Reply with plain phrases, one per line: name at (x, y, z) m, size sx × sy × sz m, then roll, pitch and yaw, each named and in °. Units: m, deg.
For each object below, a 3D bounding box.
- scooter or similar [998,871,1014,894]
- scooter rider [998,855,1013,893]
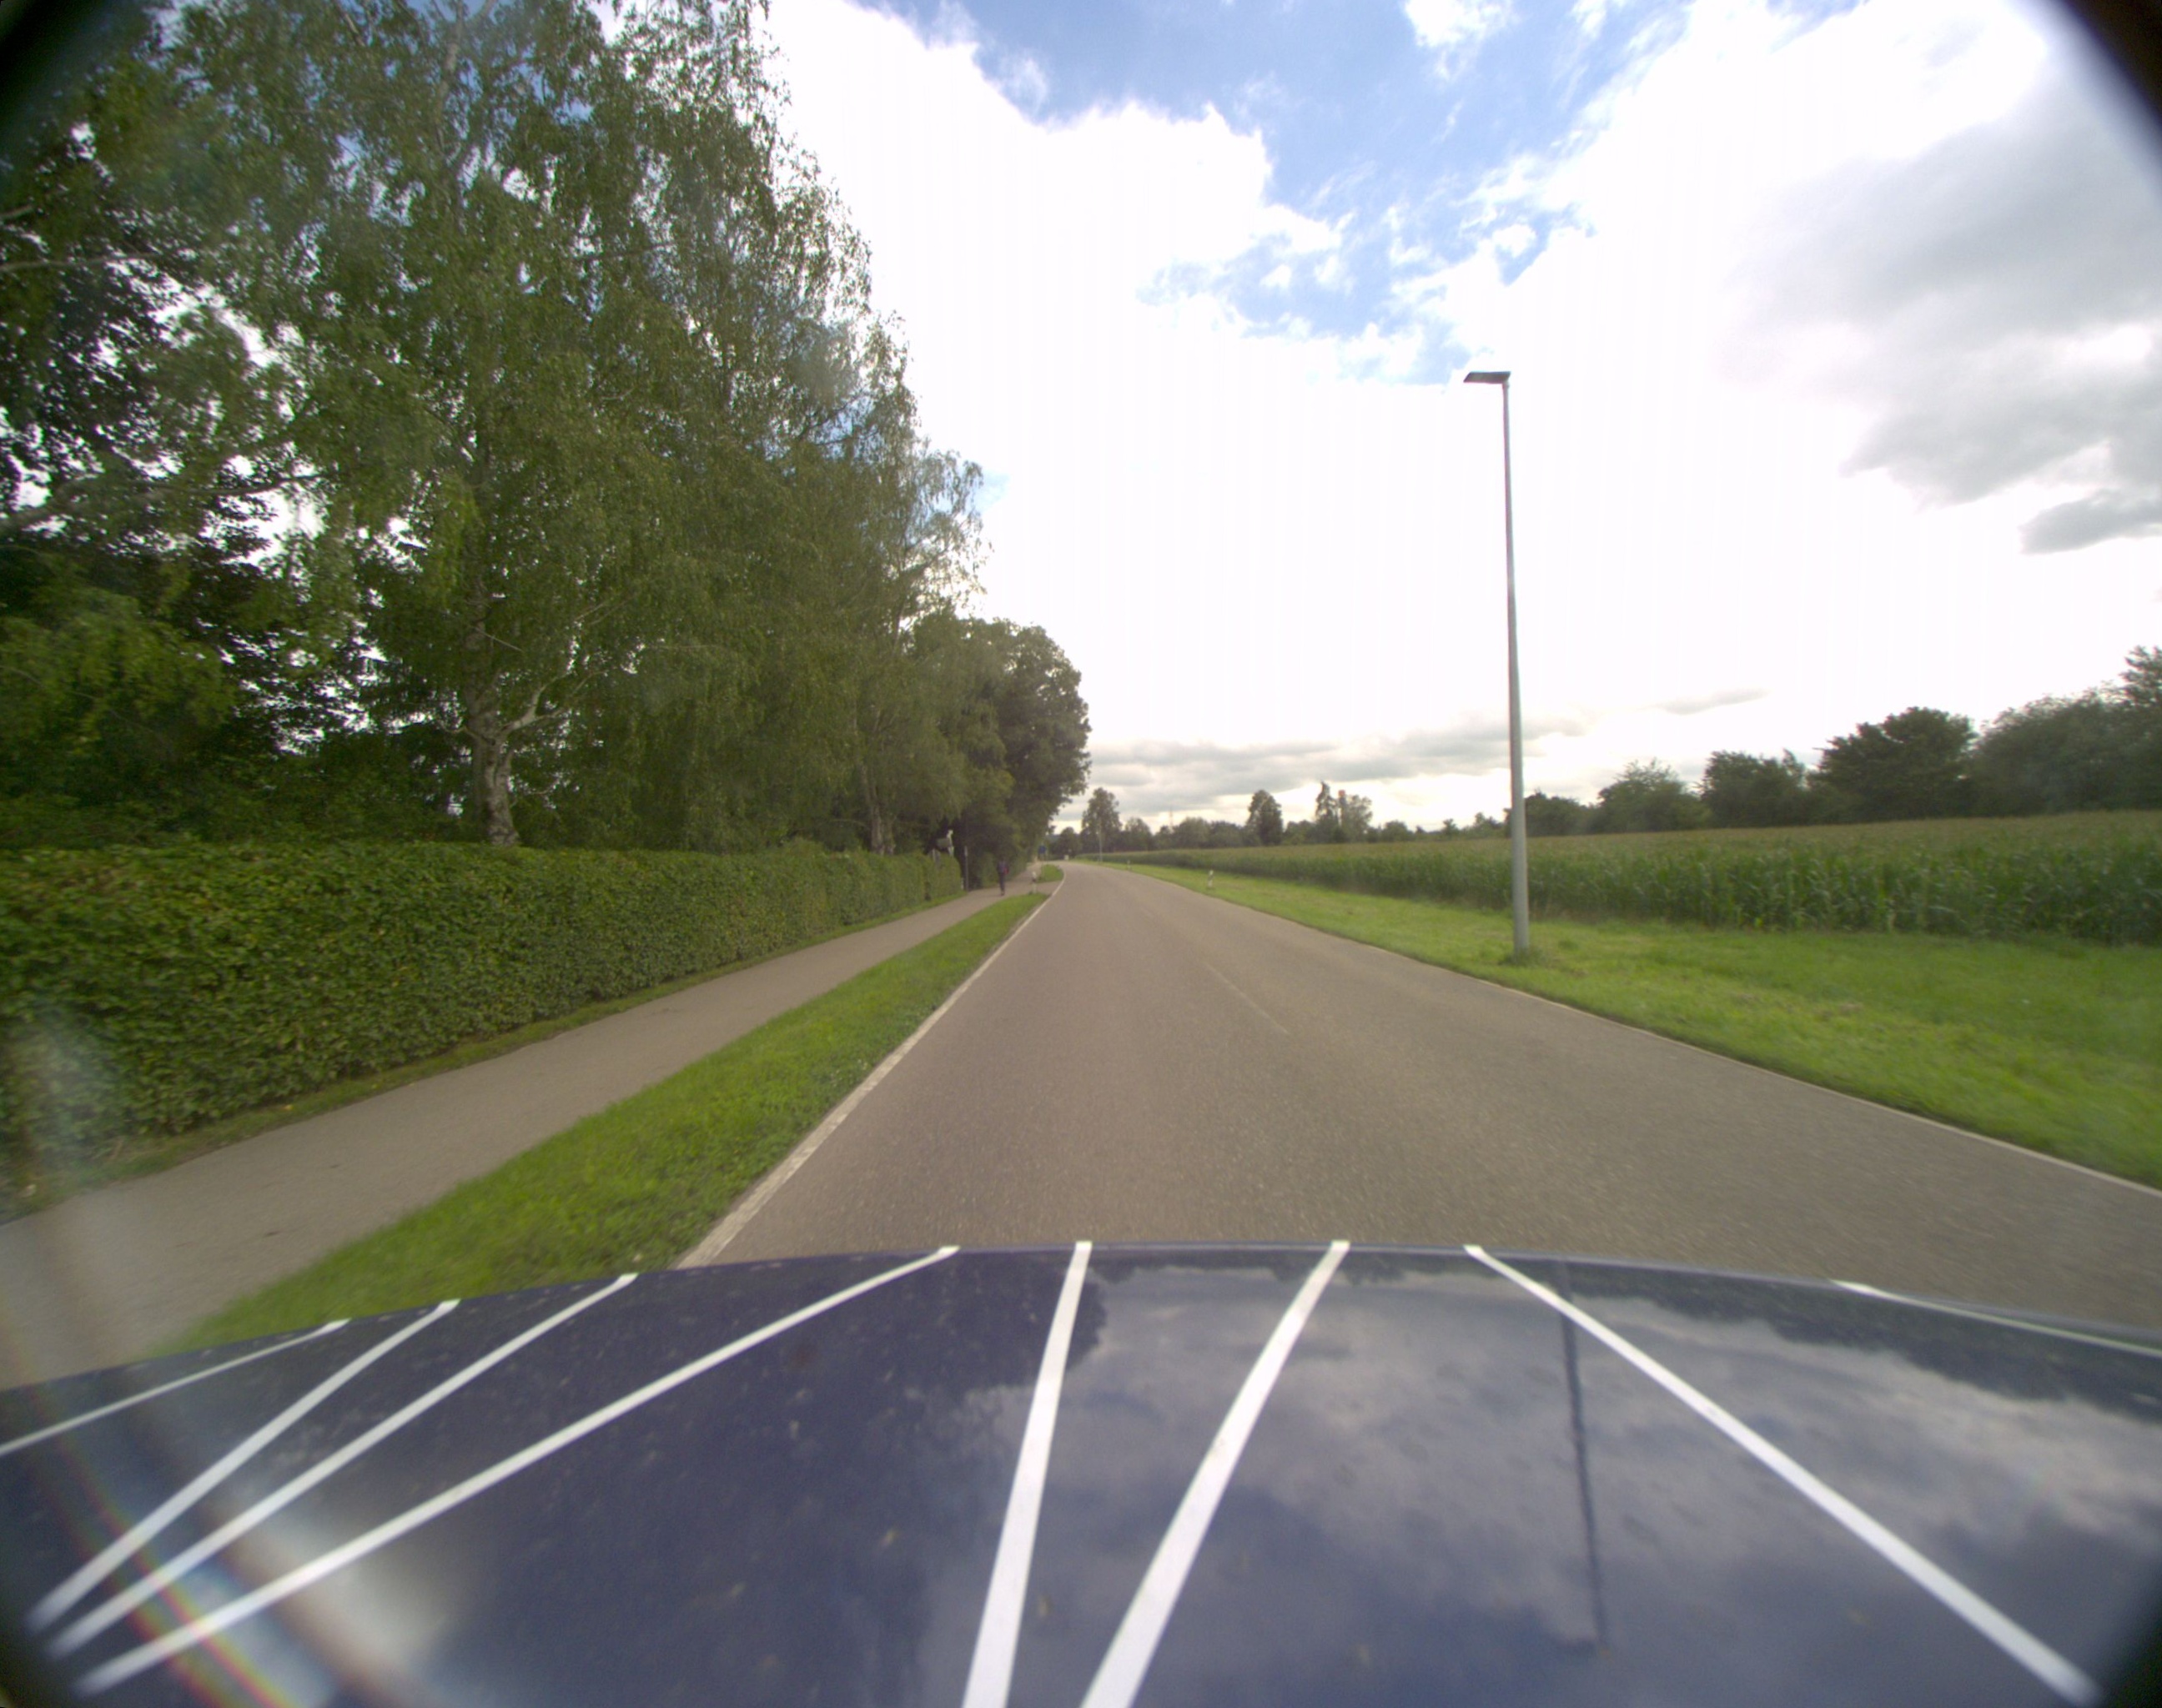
scooter or similar at (-3.964, 1.498, 40.183) m, size 0.650 × 1.157 × 1.695 m, roll -3°, pitch 0°, yaw 0°
scooter rider at (-3.984, 1.025, 40.177) m, size 0.644 × 1.954 × 0.786 m, roll -3°, pitch 1°, yaw 0°
